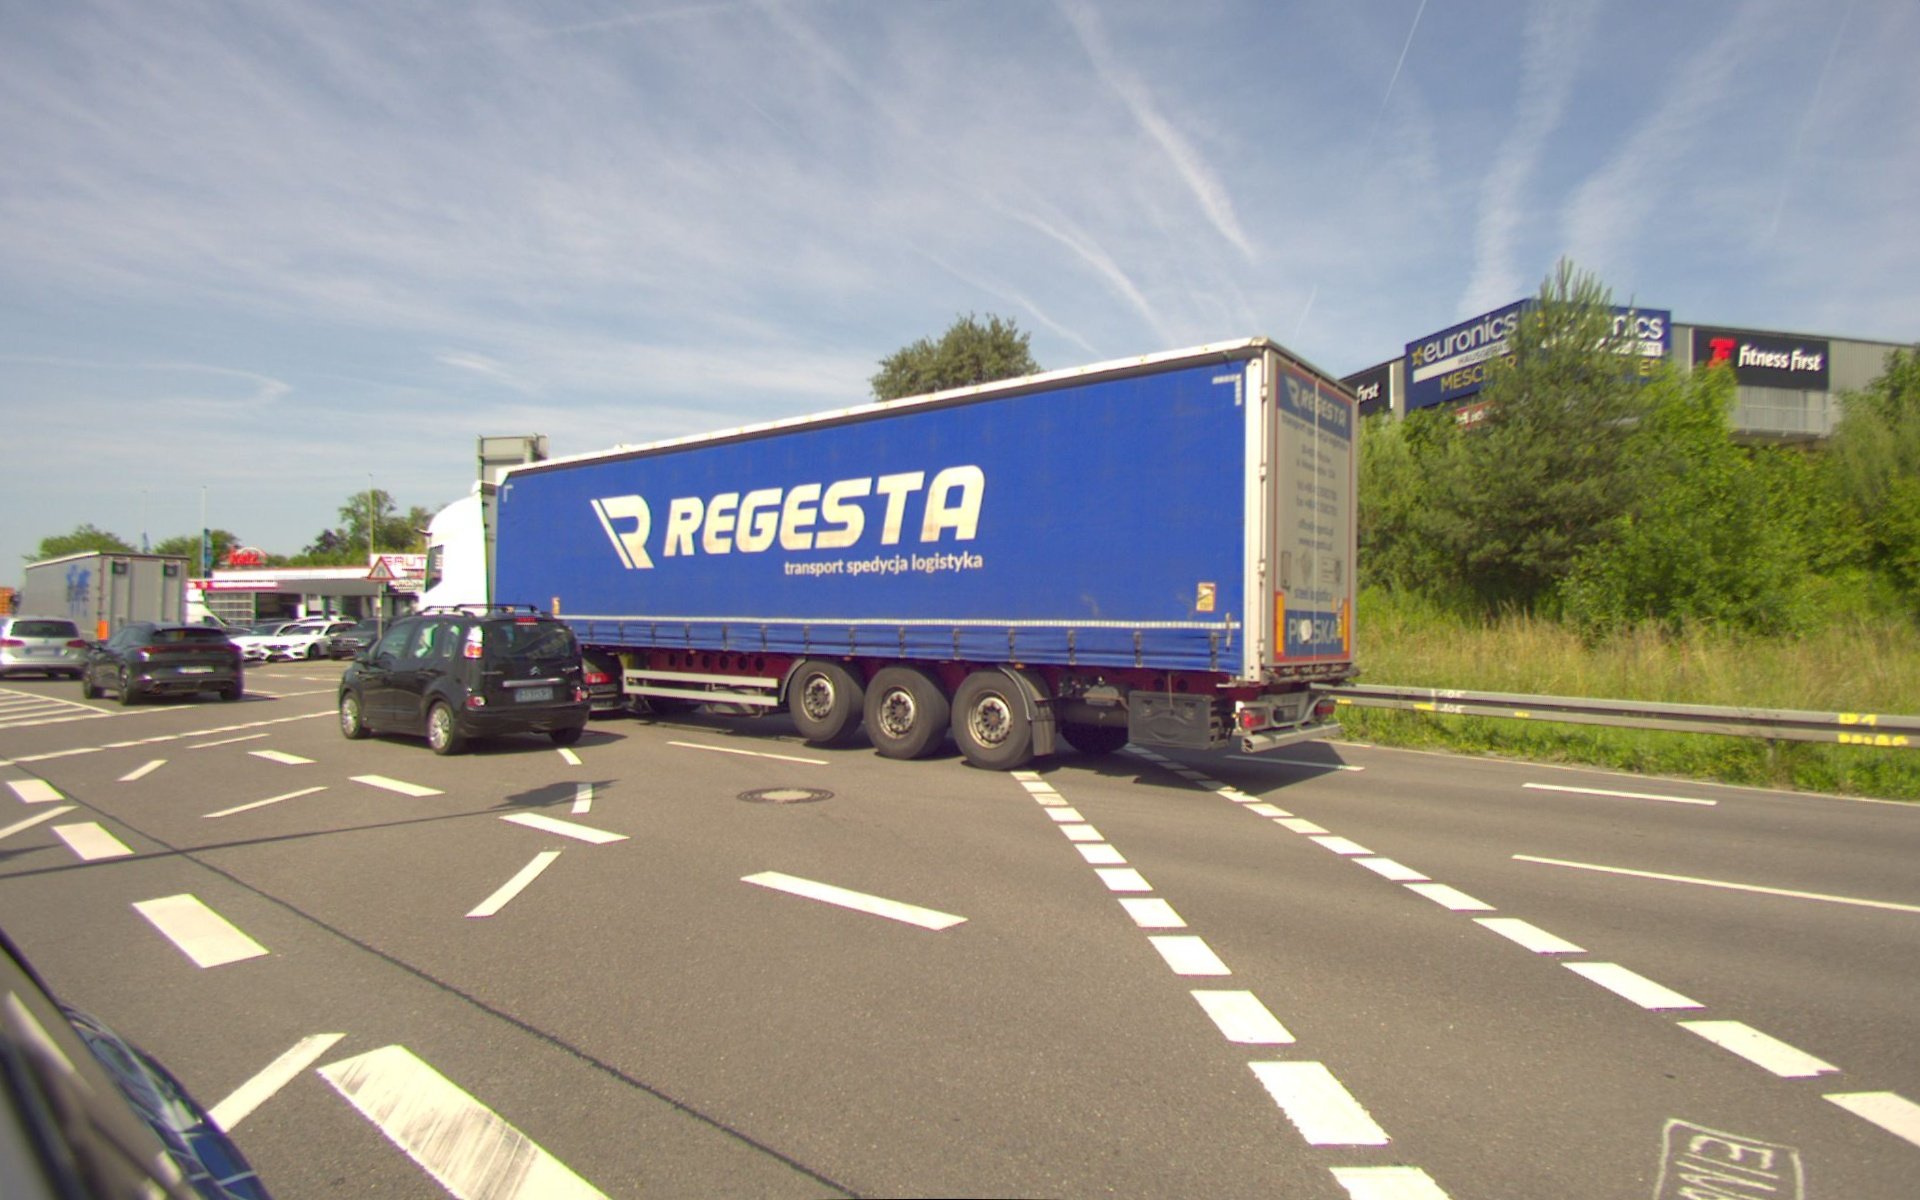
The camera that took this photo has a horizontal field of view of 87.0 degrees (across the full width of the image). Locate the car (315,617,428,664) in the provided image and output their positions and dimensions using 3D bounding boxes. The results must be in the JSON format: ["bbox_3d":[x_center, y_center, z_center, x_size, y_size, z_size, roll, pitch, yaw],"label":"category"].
[{"bbox_3d":[-24.242,1.624,41.916,1.905,1.638,4.797,0,1,0],"label":"car"}]

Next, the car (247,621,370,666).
[{"bbox_3d":[-26.741,1.750,41.755,1.929,1.524,4.714,-1,1,1],"label":"car"}]

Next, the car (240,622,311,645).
[{"bbox_3d":[-50.237,2.456,74.366,1.864,1.631,3.967,-1,-2,24],"label":"car"}]

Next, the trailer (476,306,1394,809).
[{"bbox_3d":[-1.840,-0.210,13.962,14.114,4.111,3.062,-1,-2,40],"label":"trailer"}]

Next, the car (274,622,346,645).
[{"bbox_3d":[-47.173,2.420,73.474,1.978,1.619,3.964,-1,-2,26],"label":"car"}]

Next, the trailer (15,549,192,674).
[{"bbox_3d":[-33.408,0.524,39.132,13.864,4.179,2.665,-1,-2,39],"label":"trailer"}]

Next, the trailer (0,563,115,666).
[{"bbox_3d":[-38.939,0.642,43.618,6.173,4.136,2.620,-1,-2,39],"label":"trailer"}]

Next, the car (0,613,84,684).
[{"bbox_3d":[-25.393,1.293,27.374,4.584,1.746,1.825,-2,-1,40],"label":"car"}]

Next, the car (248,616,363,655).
[{"bbox_3d":[-31.989,1.697,49.574,4.404,1.762,1.894,-1,-1,-2],"label":"car"}]

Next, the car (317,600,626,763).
[{"bbox_3d":[-6.251,0.925,12.816,3.995,1.739,1.974,-1,-2,38],"label":"car"}]

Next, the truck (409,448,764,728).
[{"bbox_3d":[-6.794,-0.091,18.072,6.340,4.111,3.156,-1,-2,39],"label":"truck"}]

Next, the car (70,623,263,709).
[{"bbox_3d":[-15.502,1.201,19.710,4.448,1.496,1.974,-1,-2,39],"label":"car"}]

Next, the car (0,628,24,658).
[{"bbox_3d":[-54.672,2.451,57.619,1.898,1.614,4.593,3,-4,-42],"label":"car"}]

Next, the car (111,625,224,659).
[{"bbox_3d":[-40.219,2.116,51.457,2.010,1.635,4.164,0,-2,14],"label":"car"}]

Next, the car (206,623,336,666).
[{"bbox_3d":[-29.102,1.830,42.937,1.871,1.486,4.705,-1,1,8],"label":"car"}]

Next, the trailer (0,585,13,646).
[{"bbox_3d":[-68.826,1.114,70.681,12.230,4.029,2.692,-1,-2,42],"label":"trailer"}]

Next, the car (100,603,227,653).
[{"bbox_3d":[-47.242,1.702,60.123,2.116,2.860,5.645,-3,-3,43],"label":"car"}]

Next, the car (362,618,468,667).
[{"bbox_3d":[-22.090,1.674,41.255,1.862,1.638,4.745,-1,1,-2],"label":"car"}]
